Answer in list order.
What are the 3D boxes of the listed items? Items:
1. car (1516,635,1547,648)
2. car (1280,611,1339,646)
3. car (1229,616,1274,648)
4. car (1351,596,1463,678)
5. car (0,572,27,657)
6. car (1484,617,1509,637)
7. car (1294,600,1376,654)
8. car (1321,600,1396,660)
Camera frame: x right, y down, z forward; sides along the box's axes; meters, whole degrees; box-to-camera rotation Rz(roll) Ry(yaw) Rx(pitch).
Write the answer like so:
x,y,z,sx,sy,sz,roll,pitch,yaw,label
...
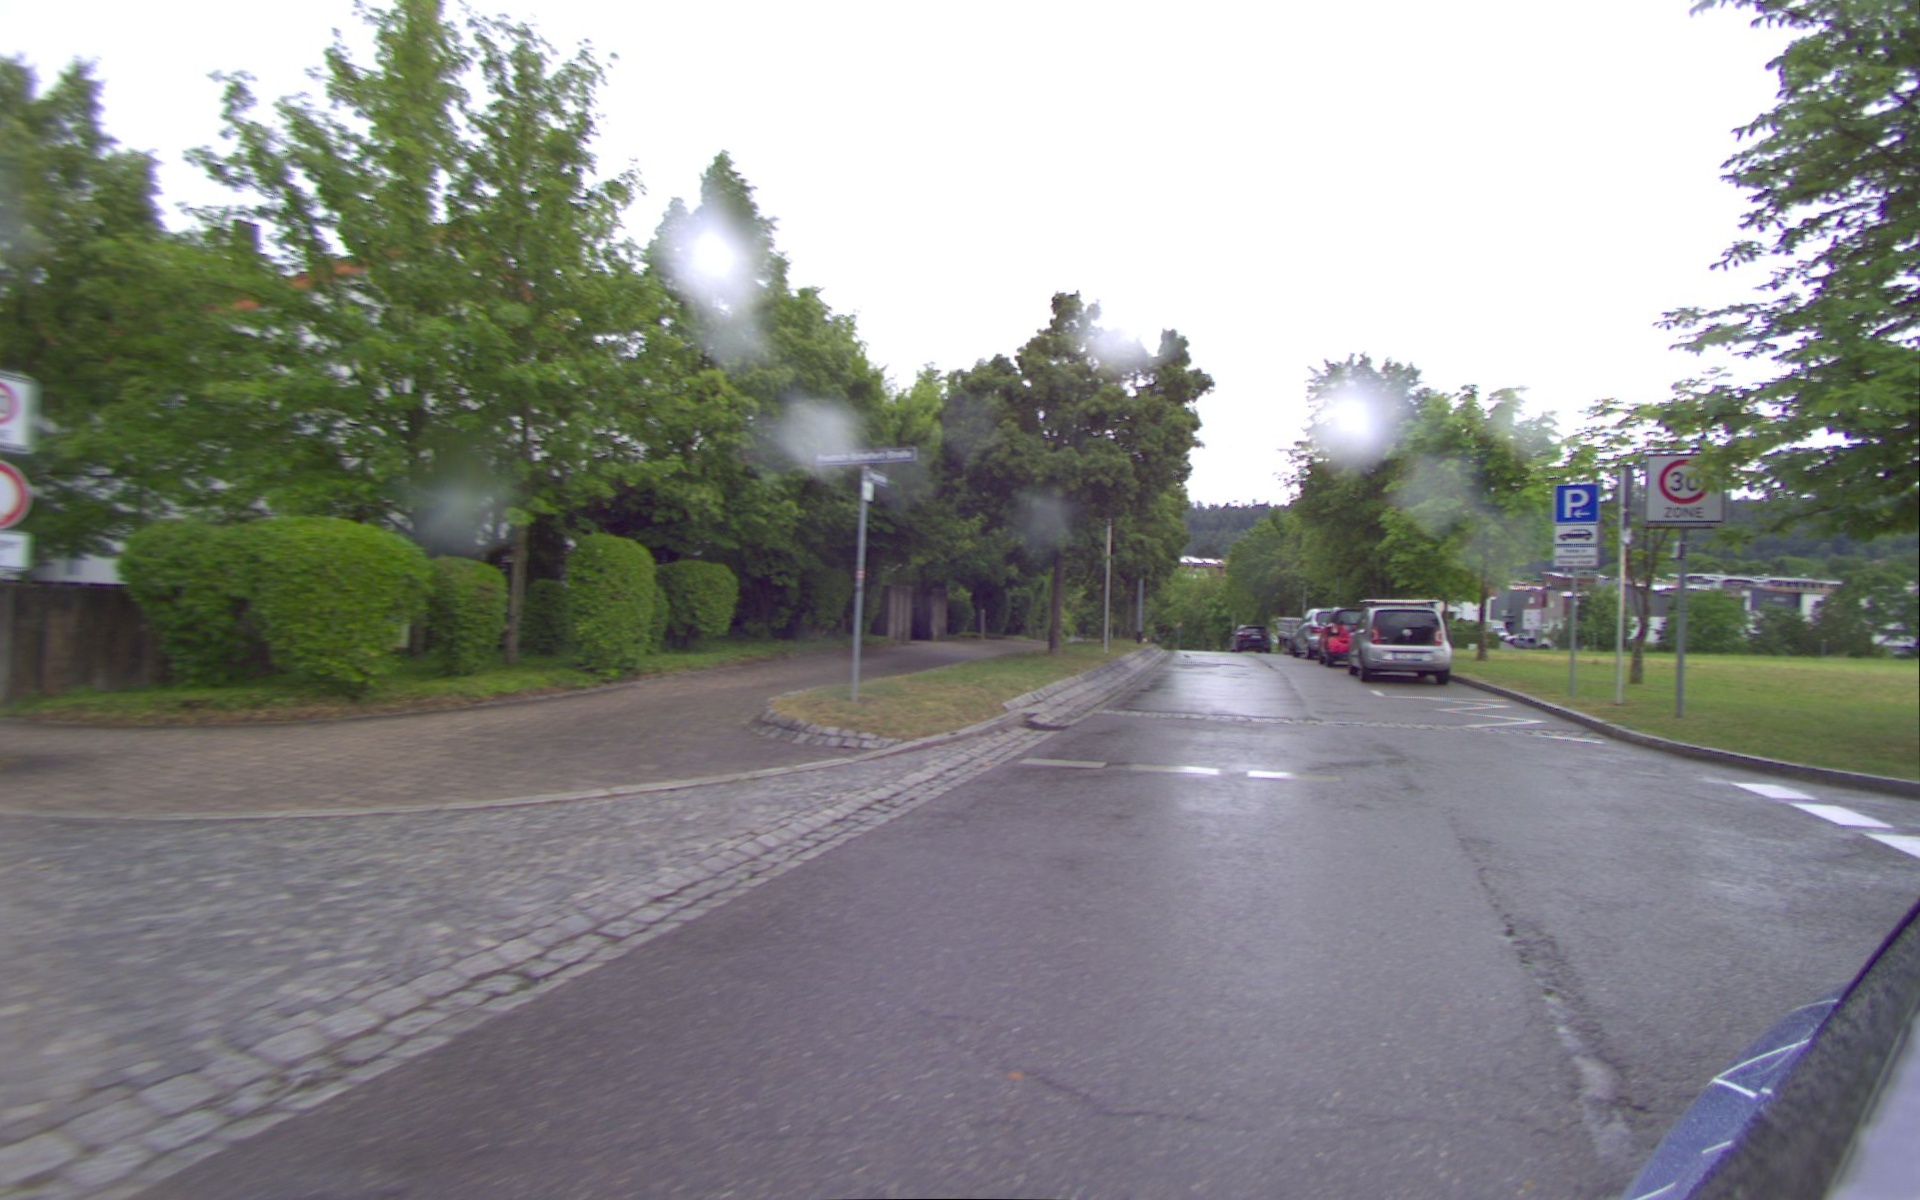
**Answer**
x,y,z,sx,sy,sz,roll,pitch,yaw,label
93.299,6.761,165.292,3.928,2.039,1.998,2,0,4,car
13.835,1.102,40.230,1.706,1.297,3.317,1,0,11,car
16.478,1.828,57.311,1.930,1.628,3.987,1,-3,9,car
8.983,0.679,20.585,1.657,1.498,3.535,0,0,17,car
-20.821,0.292,19.492,1.768,1.684,3.950,2,2,35,car
95.714,4.800,180.605,2.103,3.266,5.081,0,0,6,car
11.830,0.846,32.145,1.823,1.572,3.975,1,-1,11,car
10.278,0.742,26.260,1.532,1.454,2.995,0,-1,16,car
